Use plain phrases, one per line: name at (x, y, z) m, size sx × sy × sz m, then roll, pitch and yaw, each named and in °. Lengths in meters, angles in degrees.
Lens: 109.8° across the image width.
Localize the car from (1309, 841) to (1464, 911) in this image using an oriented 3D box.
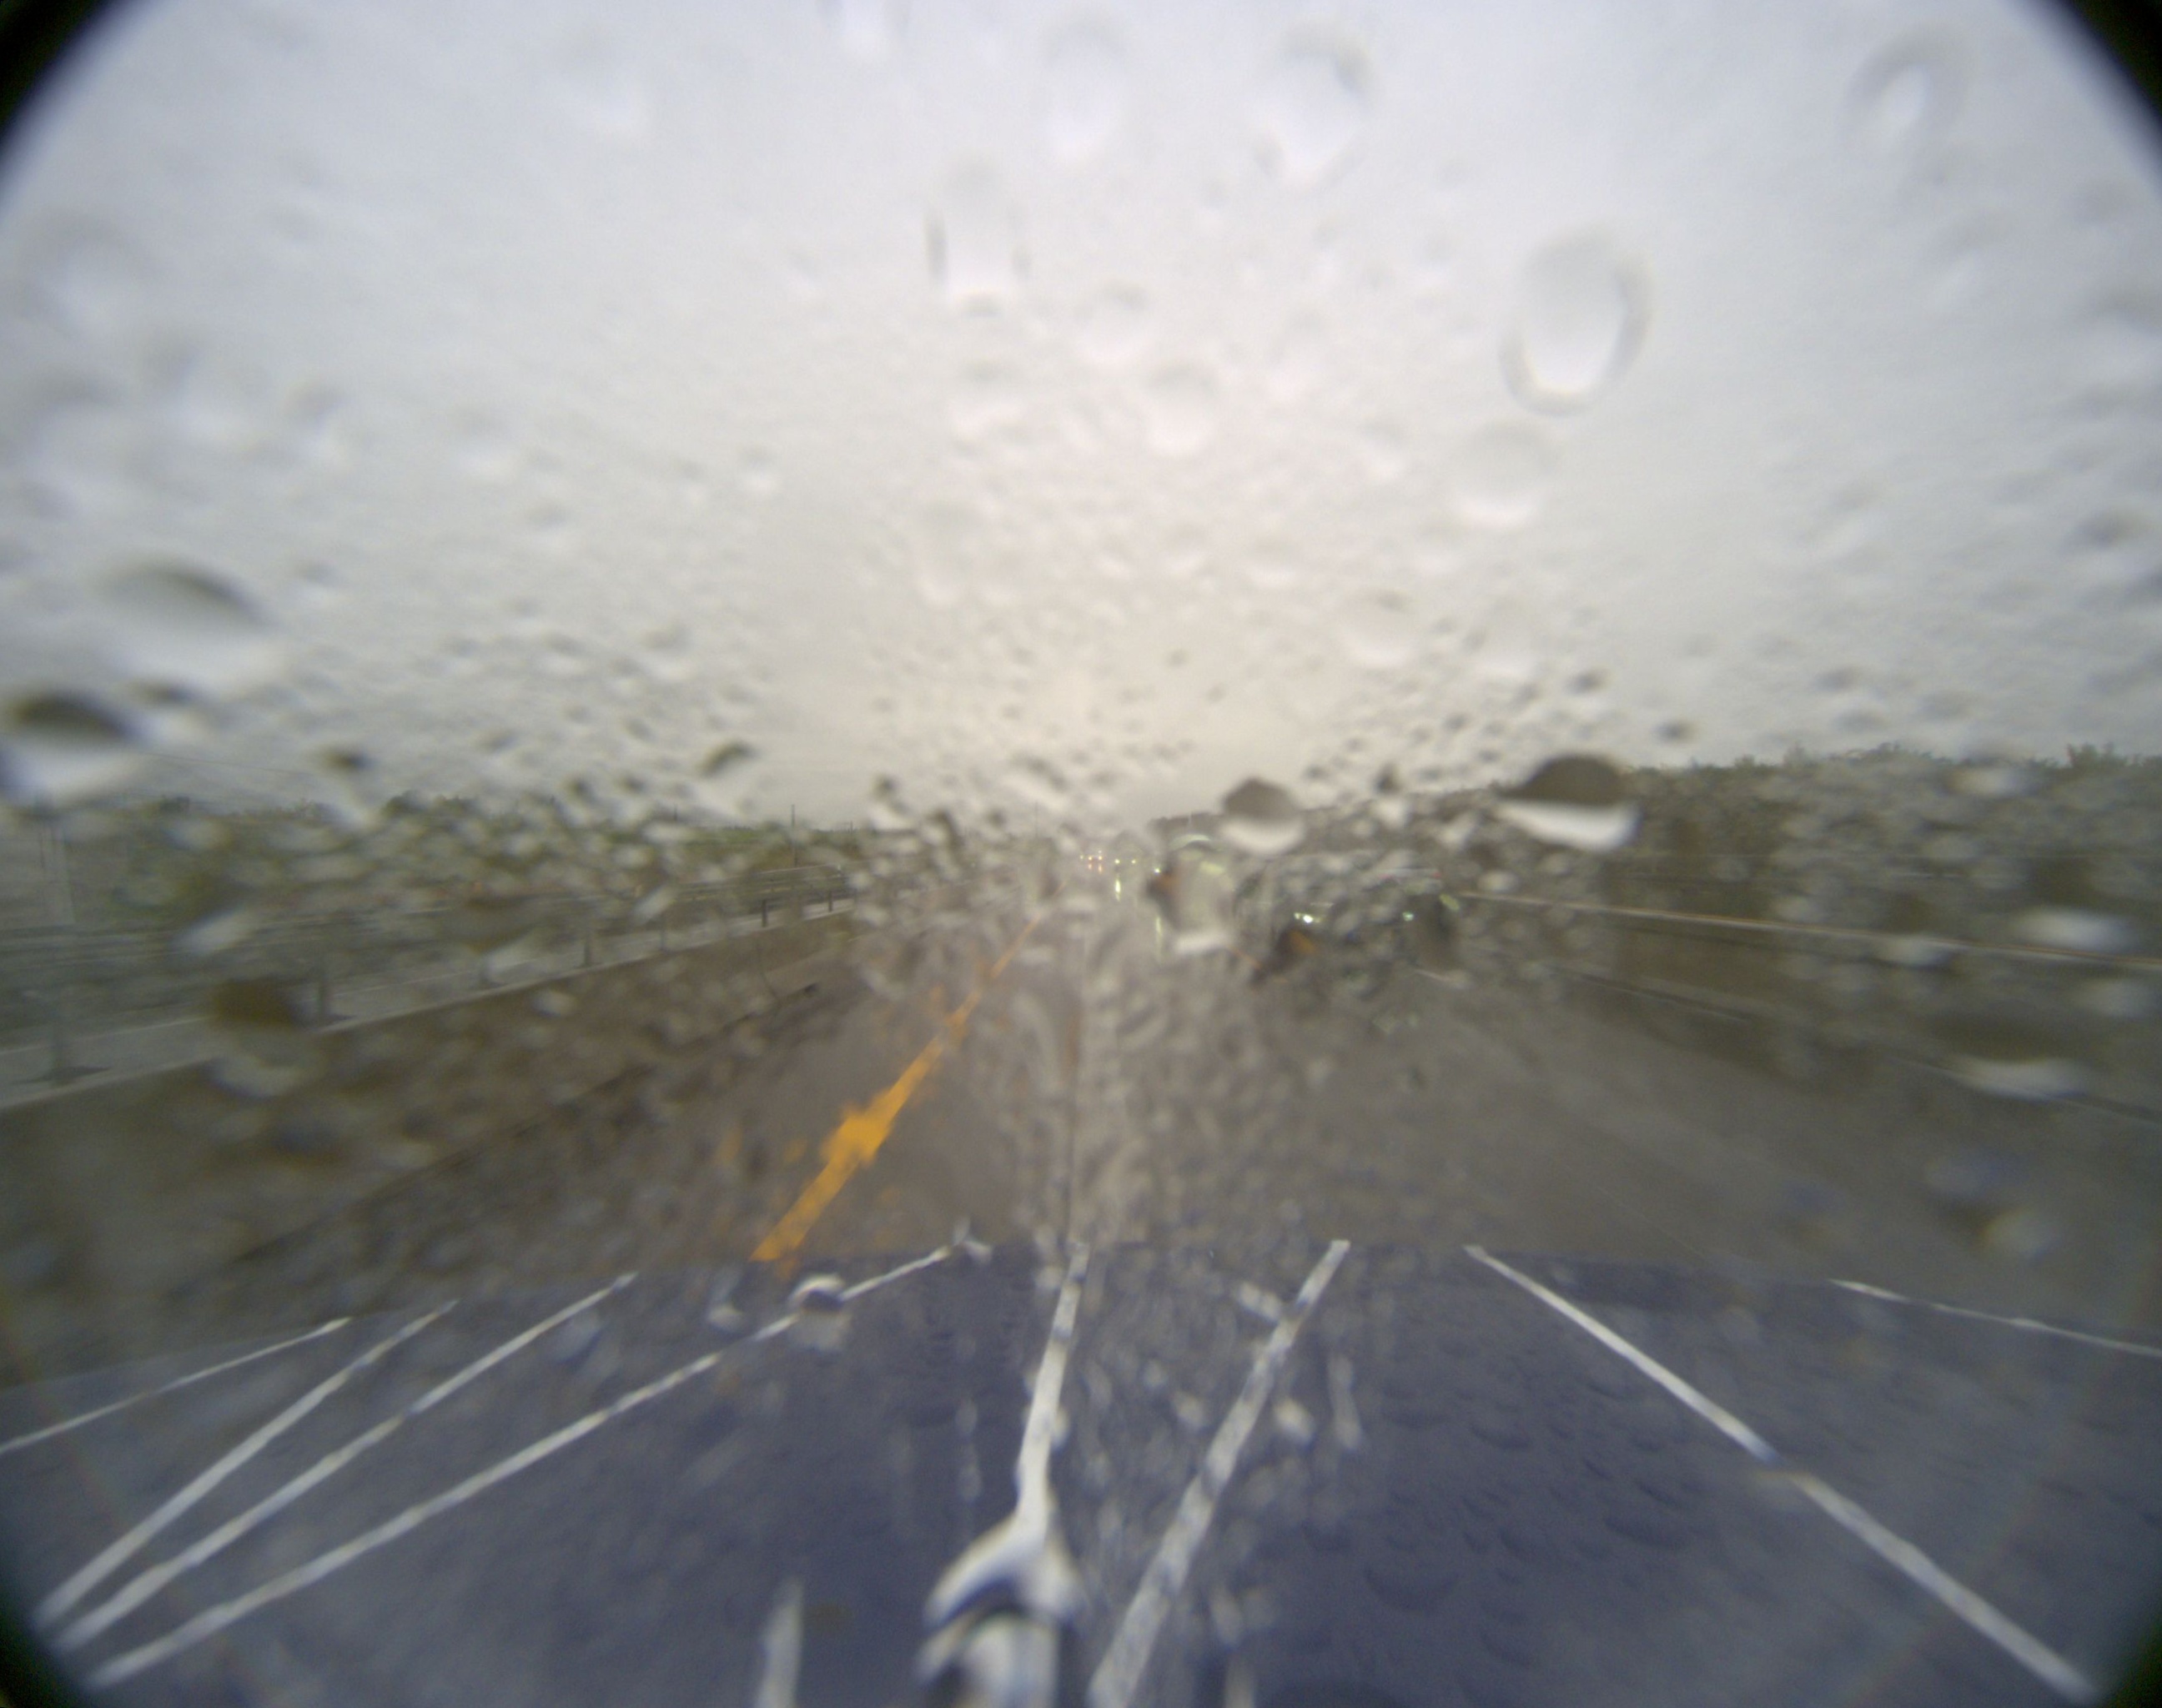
car at (7.494, 0.456, 19.231) m, size 2.043 × 1.498 × 4.719 m, roll -2°, pitch 1°, yaw 1°

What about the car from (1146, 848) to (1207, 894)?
car at (3.806, 0.627, 31.025) m, size 1.971 × 1.670 × 3.999 m, roll -2°, pitch 1°, yaw 0°

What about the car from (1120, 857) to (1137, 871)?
car at (4.104, 0.859, 65.599) m, size 1.335 × 1.105 × 3.199 m, roll 1°, pitch 0°, yaw 1°

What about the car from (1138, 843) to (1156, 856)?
car at (8.020, -0.545, 92.770) m, size 1.897 × 1.475 × 3.999 m, roll -3°, pitch 1°, yaw 1°

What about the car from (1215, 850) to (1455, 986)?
car at (3.391, 0.752, 11.265) m, size 1.944 × 1.518 × 4.795 m, roll -2°, pitch 0°, yaw 0°

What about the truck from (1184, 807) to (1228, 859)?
truck at (10.844, -1.768, 66.717) m, size 2.715 × 4.253 × 6.748 m, roll -2°, pitch 1°, yaw 1°

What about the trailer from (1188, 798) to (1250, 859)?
trailer at (10.677, -1.929, 60.192) m, size 2.693 × 4.253 × 13.069 m, roll -2°, pitch 1°, yaw 1°

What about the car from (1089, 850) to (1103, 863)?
car at (2.145, 0.321, 111.180) m, size 1.998 × 1.762 × 3.999 m, roll -2°, pitch 1°, yaw 0°
